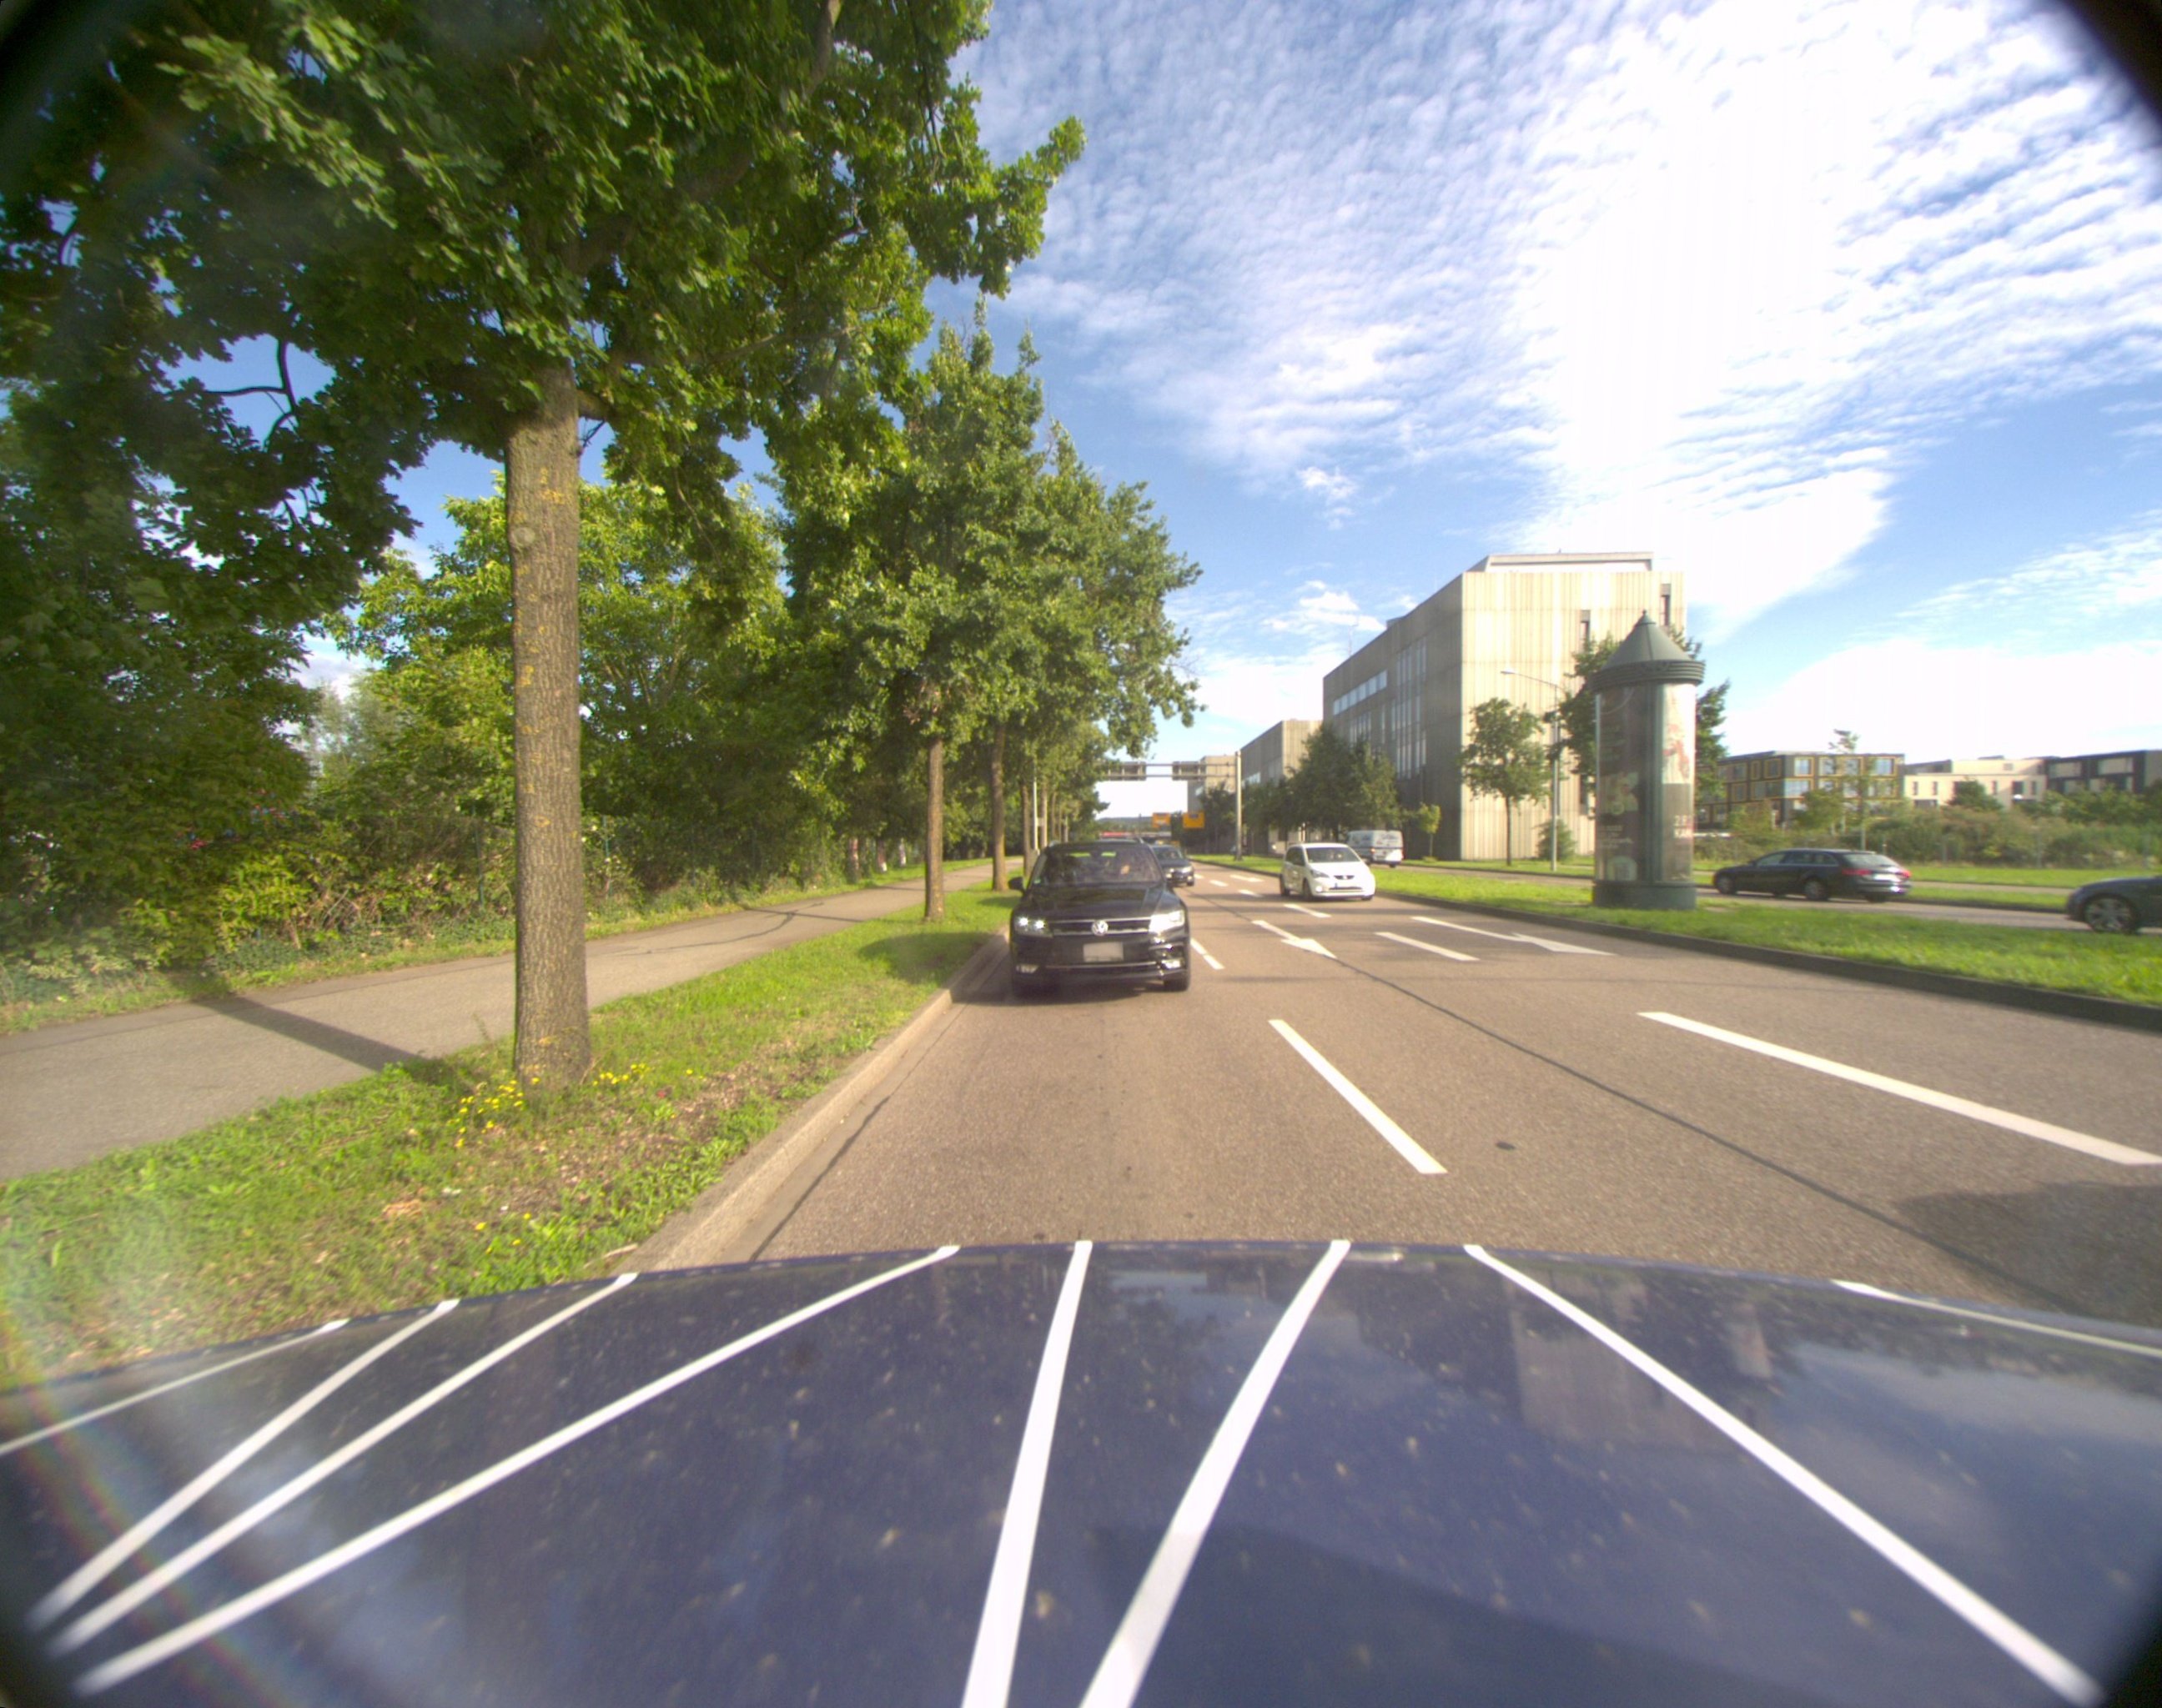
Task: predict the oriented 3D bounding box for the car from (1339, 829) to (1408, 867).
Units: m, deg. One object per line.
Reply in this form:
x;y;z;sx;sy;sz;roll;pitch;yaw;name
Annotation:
18.332;-0.386;47.954;2.032;2.242;5.539;1;1;-2;car

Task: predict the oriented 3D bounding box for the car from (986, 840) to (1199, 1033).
0.162;0.710;9.360;1.871;1.685;5.014;-2;1;1;car

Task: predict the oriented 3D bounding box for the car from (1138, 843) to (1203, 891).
3.233;0.410;28.361;1.998;1.557;4.844;-2;1;3;car

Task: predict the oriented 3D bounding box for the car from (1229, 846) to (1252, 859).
18.887;-0.227;89.952;1.855;1.456;4.454;-1;1;1;car

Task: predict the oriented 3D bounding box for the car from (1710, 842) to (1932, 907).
20.346;0.483;21.226;1.855;1.563;4.454;1;1;1;car

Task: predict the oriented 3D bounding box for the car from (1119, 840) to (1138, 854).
5.314;-0.764;84.916;1.855;1.456;4.454;-1;1;1;car

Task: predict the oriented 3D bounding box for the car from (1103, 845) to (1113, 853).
5.187;-0.950;146.467;1.736;1.381;3.999;0;1;1;car

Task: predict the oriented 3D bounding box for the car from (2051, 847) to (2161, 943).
16.976;0.650;10.519;1.855;1.425;4.067;2;1;1;car

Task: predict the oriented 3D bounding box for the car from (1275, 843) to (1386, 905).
6.459;0.450;20.098;1.766;1.456;3.659;-1;1;1;car
